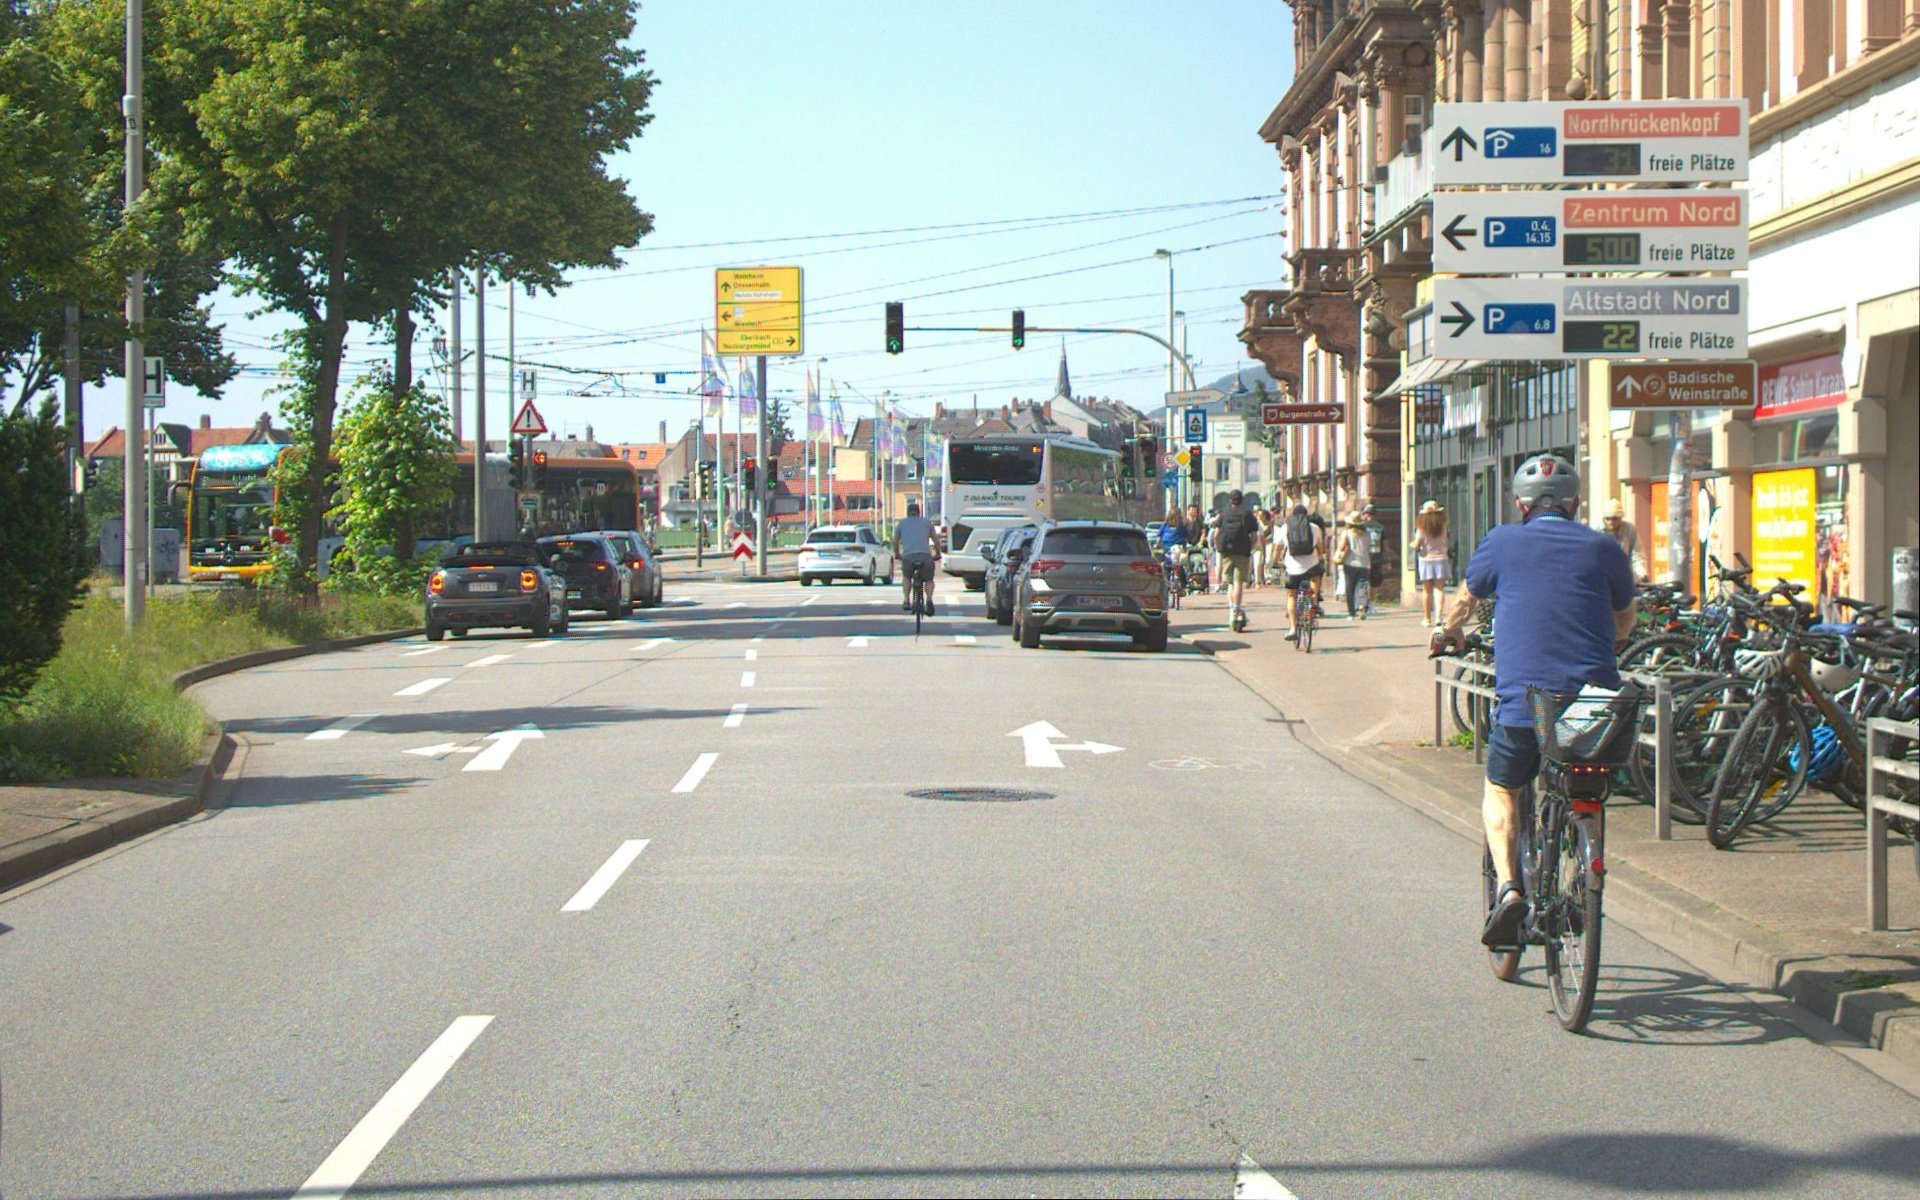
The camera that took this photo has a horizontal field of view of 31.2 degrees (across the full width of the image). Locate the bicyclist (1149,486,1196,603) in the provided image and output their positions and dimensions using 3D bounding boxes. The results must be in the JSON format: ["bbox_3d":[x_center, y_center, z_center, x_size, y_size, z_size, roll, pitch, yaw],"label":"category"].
[{"bbox_3d":[3.635,-0.948,58.921,0.688,1.955,0.778,3,0,3],"label":"bicyclist"}]

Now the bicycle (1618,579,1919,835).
[{"bbox_3d":[4.102,0.516,16.656,1.693,1.174,0.490,2,0,0],"label":"bicycle"}]

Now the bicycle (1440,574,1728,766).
[{"bbox_3d":[3.903,0.432,21.587,1.693,1.174,0.608,0,1,0],"label":"bicycle"}]

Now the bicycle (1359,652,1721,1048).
[{"bbox_3d":[1.814,0.749,11.049,0.734,1.089,1.911,3,0,-2],"label":"bicycle"}]

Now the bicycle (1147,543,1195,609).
[{"bbox_3d":[3.616,-0.411,59.035,0.734,1.089,1.898,3,0,2],"label":"bicycle"}]

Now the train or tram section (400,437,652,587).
[{"bbox_3d":[-11.446,-2.277,91.619,2.826,3.569,8.216,3,0,22],"label":"train or tram section"}]

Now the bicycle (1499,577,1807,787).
[{"bbox_3d":[4.114,0.479,20.459,1.693,1.174,0.470,2,0,0],"label":"bicycle"}]

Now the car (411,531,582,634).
[{"bbox_3d":[-6.595,-0.250,49.278,1.815,1.328,4.000,3,0,1],"label":"car"}]

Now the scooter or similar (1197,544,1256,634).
[{"bbox_3d":[3.603,-0.153,46.582,0.688,1.163,1.464,3,0,3],"label":"scooter or similar"}]

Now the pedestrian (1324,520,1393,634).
[{"bbox_3d":[5.783,-0.334,49.929,0.862,1.634,0.876,0,1,-2],"label":"pedestrian"}]

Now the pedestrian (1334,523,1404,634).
[{"bbox_3d":[6.224,-0.333,52.340,0.862,1.634,0.876,3,0,-2],"label":"pedestrian"}]

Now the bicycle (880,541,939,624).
[{"bbox_3d":[-0.704,-0.244,47.290,0.734,1.089,1.898,3,0,-2],"label":"bicycle"}]

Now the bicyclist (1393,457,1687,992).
[{"bbox_3d":[1.836,0.380,10.996,0.688,1.611,0.918,3,0,-1],"label":"bicyclist"}]

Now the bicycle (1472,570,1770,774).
[{"bbox_3d":[4.026,0.432,20.990,1.693,1.174,0.470,2,0,0],"label":"bicycle"}]

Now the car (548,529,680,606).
[{"bbox_3d":[-6.590,-0.620,65.870,2.037,1.328,4.000,3,0,1],"label":"car"}]

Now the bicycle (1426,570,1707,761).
[{"bbox_3d":[3.911,0.414,22.241,1.693,1.174,0.608,-1,1,1],"label":"bicycle"}]

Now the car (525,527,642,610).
[{"bbox_3d":[-6.376,-0.535,58.571,1.451,1.296,4.000,3,0,1],"label":"car"}]

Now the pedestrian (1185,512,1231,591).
[{"bbox_3d":[5.194,-1.025,71.924,0.862,1.634,0.876,0,1,-2],"label":"pedestrian"}]

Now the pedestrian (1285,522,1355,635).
[{"bbox_3d":[5.371,-0.318,51.331,0.862,1.634,0.876,3,0,-2],"label":"pedestrian"}]

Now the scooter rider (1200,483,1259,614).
[{"bbox_3d":[3.646,-0.694,46.619,0.688,1.723,0.778,3,0,3],"label":"scooter rider"}]

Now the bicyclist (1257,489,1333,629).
[{"bbox_3d":[3.866,-0.471,39.759,0.688,1.571,1.049,3,0,-1],"label":"bicyclist"}]

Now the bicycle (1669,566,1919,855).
[{"bbox_3d":[4.121,0.498,15.465,1.693,1.237,0.608,2,0,0],"label":"bicycle"}]

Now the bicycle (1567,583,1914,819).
[{"bbox_3d":[4.121,0.528,18.205,1.693,1.174,0.457,2,0,0],"label":"bicycle"}]

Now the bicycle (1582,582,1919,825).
[{"bbox_3d":[4.106,0.524,17.684,1.693,1.174,0.463,2,0,0],"label":"bicycle"}]

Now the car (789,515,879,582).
[{"bbox_3d":[-3.043,-1.237,83.610,1.859,1.502,4.000,3,0,2],"label":"car"}]

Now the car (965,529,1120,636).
[{"bbox_3d":[1.222,-0.271,52.525,1.993,1.487,4.000,3,0,-3],"label":"car"}]

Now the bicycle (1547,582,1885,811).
[{"bbox_3d":[4.122,0.517,18.797,1.693,1.174,0.514,2,0,0],"label":"bicycle"}]

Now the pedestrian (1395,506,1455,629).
[{"bbox_3d":[6.171,-0.439,45.665,0.654,1.615,0.815,0,1,-2],"label":"pedestrian"}]

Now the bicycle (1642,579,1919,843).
[{"bbox_3d":[4.109,0.520,16.103,1.693,1.174,0.497,2,0,0],"label":"bicycle"}]

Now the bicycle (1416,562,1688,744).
[{"bbox_3d":[3.928,0.347,22.872,1.693,1.174,0.608,1,1,0],"label":"bicycle"}]

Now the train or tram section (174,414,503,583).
[{"bbox_3d":[-14.836,-2.355,83.168,2.826,3.569,10.020,3,0,22],"label":"train or tram section"}]

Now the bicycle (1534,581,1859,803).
[{"bbox_3d":[4.136,0.510,19.364,1.693,1.174,0.459,2,0,0],"label":"bicycle"}]

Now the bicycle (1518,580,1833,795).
[{"bbox_3d":[4.137,0.499,19.928,1.693,1.174,0.460,2,0,0],"label":"bicycle"}]

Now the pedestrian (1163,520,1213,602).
[{"bbox_3d":[4.660,-0.792,70.407,0.862,1.634,0.876,3,0,-2],"label":"pedestrian"}]

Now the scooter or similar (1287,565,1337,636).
[{"bbox_3d":[5.312,0.008,51.916,0.600,1.044,0.799,3,0,-2],"label":"scooter or similar"}]

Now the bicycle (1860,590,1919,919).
[{"bbox_3d":[4.248,0.581,12.616,1.693,1.174,0.608,2,0,0],"label":"bicycle"}]

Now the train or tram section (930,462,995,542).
[{"bbox_3d":[0.172,-4.893,172.562,2.822,3.764,8.226,3,1,2],"label":"train or tram section"}]

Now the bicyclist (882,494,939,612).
[{"bbox_3d":[-0.678,-0.636,47.221,0.688,1.571,1.049,3,0,-2],"label":"bicyclist"}]

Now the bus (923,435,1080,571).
[{"bbox_3d":[1.056,-2.169,79.731,2.969,2.767,8.640,3,0,4],"label":"bus"}]

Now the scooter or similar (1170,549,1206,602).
[{"bbox_3d":[4.629,-0.493,69.700,0.600,1.044,0.799,3,0,-2],"label":"scooter or similar"}]

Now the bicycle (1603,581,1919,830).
[{"bbox_3d":[4.119,0.523,17.163,1.693,1.174,0.451,2,0,0],"label":"bicycle"}]

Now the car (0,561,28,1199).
[{"bbox_3d":[-2.738,0.668,5.021,1.777,1.470,4.000,0,0,-2],"label":"car"}]

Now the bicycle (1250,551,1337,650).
[{"bbox_3d":[3.842,-0.001,39.723,0.734,1.089,1.898,3,0,-1],"label":"bicycle"}]

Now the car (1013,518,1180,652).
[{"bbox_3d":[1.640,-0.189,42.528,1.874,1.487,4.000,3,0,1],"label":"car"}]

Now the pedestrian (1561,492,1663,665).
[{"bbox_3d":[6.409,-0.211,33.825,0.755,1.650,0.837,-2,0,-1],"label":"pedestrian"}]
